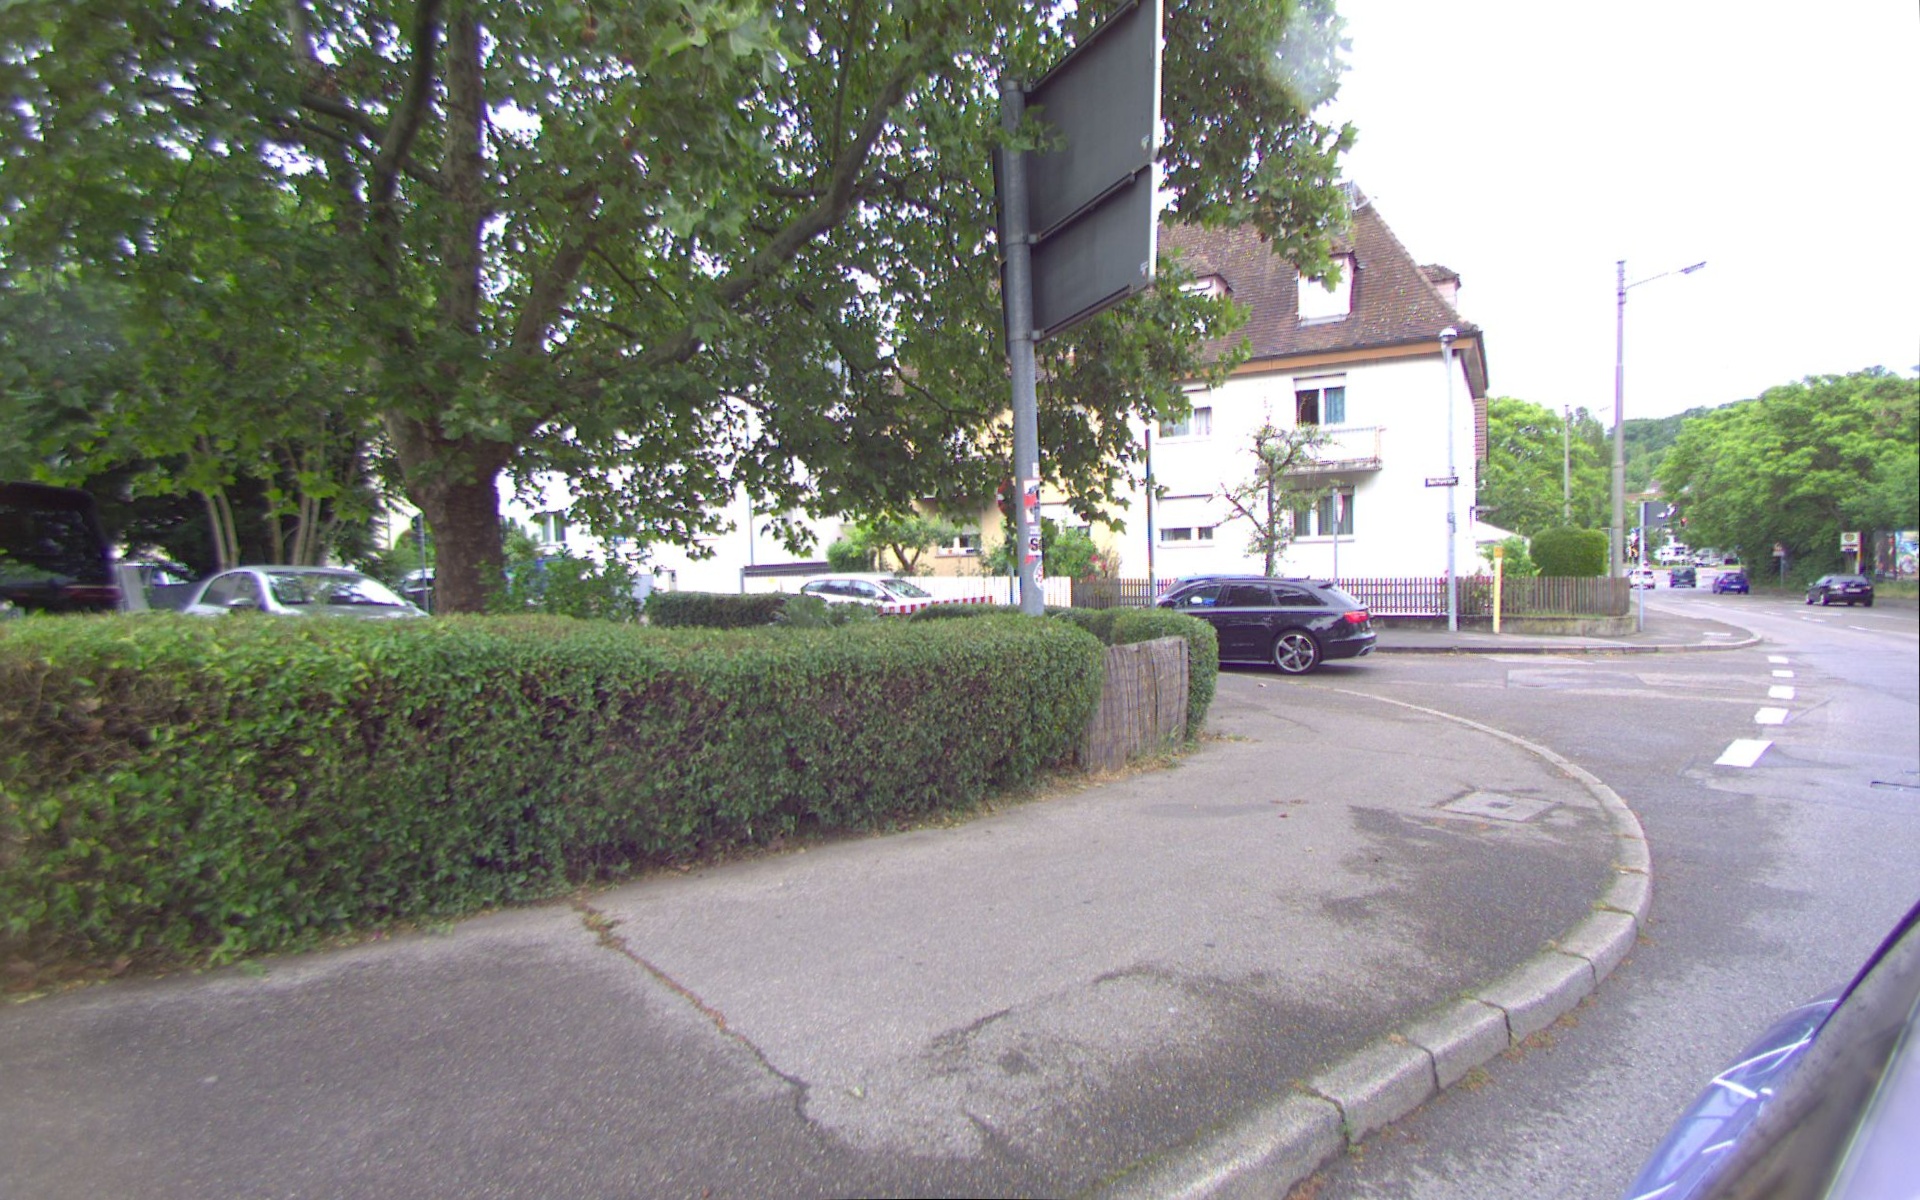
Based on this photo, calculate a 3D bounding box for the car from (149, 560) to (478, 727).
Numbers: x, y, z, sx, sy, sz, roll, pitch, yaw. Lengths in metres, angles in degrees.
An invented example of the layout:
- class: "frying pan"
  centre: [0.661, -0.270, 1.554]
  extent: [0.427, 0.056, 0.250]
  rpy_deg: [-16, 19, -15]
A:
- class: "car"
  centre: [-7.457, 0.361, 11.576]
  extent: [3.974, 1.599, 1.800]
  rpy_deg: [1, 2, 35]

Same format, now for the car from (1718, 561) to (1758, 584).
- class: "car"
  centre: [52.362, -1.879, 68.136]
  extent: [1.589, 1.443, 3.661]
  rpy_deg: [1, 3, 29]

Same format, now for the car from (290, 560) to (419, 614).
- class: "car"
  centre: [-22.089, -0.510, 36.891]
  extent: [4.535, 1.862, 1.982]
  rpy_deg: [1, 2, 28]

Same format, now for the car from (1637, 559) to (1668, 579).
- class: "car"
  centre: [58.454, -2.653, 85.502]
  extent: [1.821, 1.598, 4.289]
  rpy_deg: [-1, 2, 30]

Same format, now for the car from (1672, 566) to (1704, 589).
- class: "car"
  centre: [65.271, -2.053, 90.823]
  extent: [1.948, 1.955, 4.632]
  rpy_deg: [1, 2, 31]

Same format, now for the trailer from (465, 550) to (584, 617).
- class: "trailer"
  centre: [-13.937, -0.555, 32.368]
  extent: [3.456, 2.038, 1.657]
  rpy_deg: [1, 1, 26]

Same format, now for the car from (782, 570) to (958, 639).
- class: "car"
  centre: [-2.094, 0.057, 23.398]
  extent: [3.752, 1.471, 1.754]
  rpy_deg: [1, 1, 30]

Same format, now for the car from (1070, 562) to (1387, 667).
- class: "car"
  centre: [4.360, 0.148, 16.544]
  extent: [4.768, 1.498, 1.870]
  rpy_deg: [1, 2, 25]

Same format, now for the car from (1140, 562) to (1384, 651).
- class: "car"
  centre: [5.676, 0.053, 19.149]
  extent: [4.095, 1.498, 1.865]
  rpy_deg: [1, 2, 32]

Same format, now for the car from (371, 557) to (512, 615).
- class: "car"
  centre: [-17.520, -0.497, 34.175]
  extent: [4.535, 1.862, 1.982]
  rpy_deg: [1, 2, 28]

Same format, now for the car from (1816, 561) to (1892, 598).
- class: "car"
  centre: [40.655, -0.951, 46.114]
  extent: [1.834, 1.588, 4.363]
  rpy_deg: [1, 1, 32]

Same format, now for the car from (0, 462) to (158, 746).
- class: "car"
  centre: [-8.548, 0.000, 7.980]
  extent: [4.376, 1.956, 1.980]
  rpy_deg: [1, 2, 29]
